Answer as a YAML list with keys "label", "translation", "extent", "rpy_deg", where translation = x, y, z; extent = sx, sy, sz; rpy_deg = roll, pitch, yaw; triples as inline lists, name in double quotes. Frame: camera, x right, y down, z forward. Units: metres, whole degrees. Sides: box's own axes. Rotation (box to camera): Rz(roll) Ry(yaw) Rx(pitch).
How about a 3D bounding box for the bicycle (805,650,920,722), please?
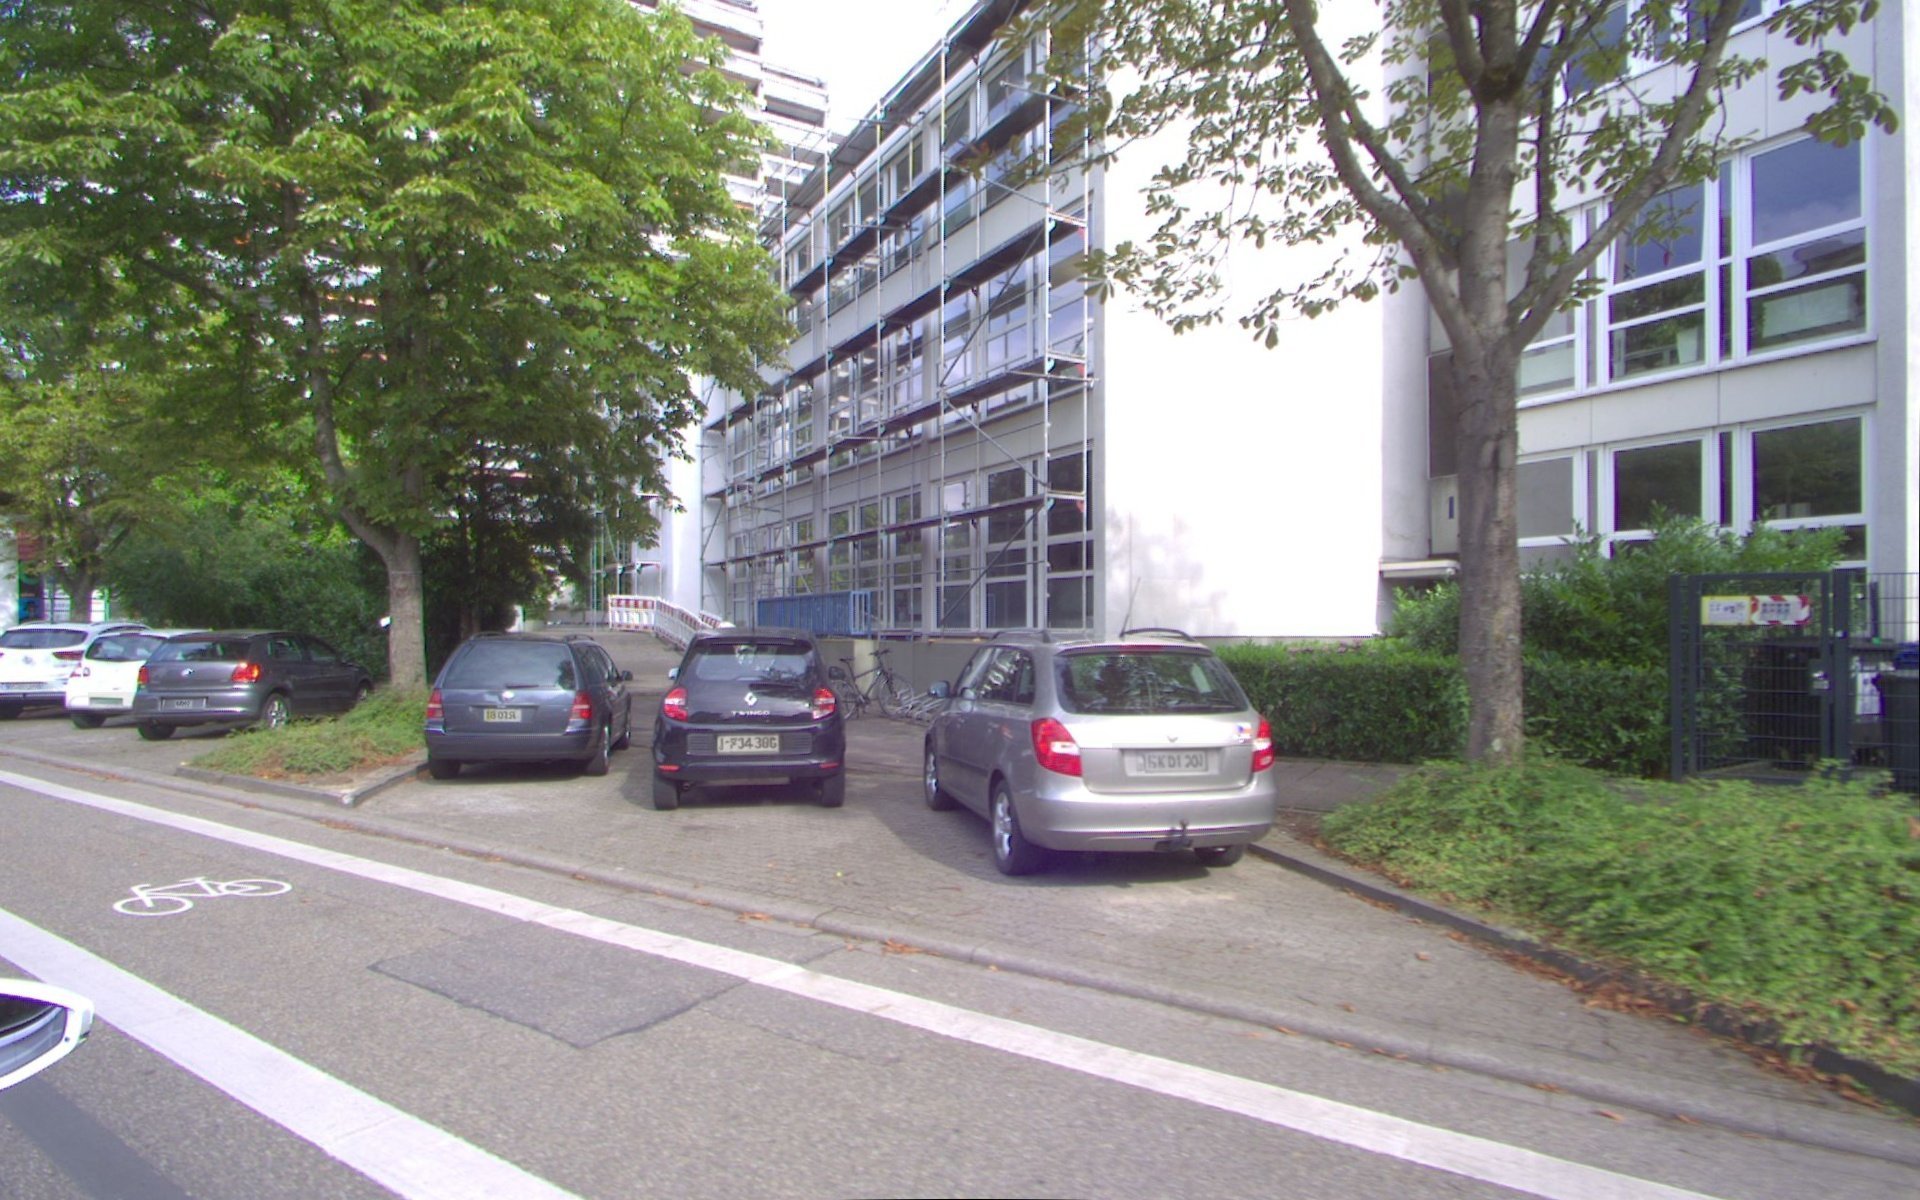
- label: "bicycle"
  translation: [-1.560, 1.359, 16.136]
  extent: [1.813, 1.057, 0.451]
  rpy_deg: [0, 0, -29]

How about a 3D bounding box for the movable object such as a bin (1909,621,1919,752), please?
- label: "movable object such as a bin"
  translation: [12.363, 1.048, 12.057]
  extent: [1.160, 1.588, 1.172]
  rpy_deg: [1, -1, -36]

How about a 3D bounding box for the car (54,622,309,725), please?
- label: "car"
  translation: [-12.620, 1.136, 16.544]
  extent: [1.650, 1.493, 3.647]
  rpy_deg: [0, -2, -6]

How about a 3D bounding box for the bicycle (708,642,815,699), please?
- label: "bicycle"
  translation: [-3.807, 1.333, 19.234]
  extent: [1.944, 1.057, 0.593]
  rpy_deg: [1, -1, -20]

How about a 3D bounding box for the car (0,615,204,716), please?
- label: "car"
  translation: [-15.472, 1.106, 17.966]
  extent: [1.651, 1.623, 3.644]
  rpy_deg: [0, -2, -12]

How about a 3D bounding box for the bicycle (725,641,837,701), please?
- label: "bicycle"
  translation: [-3.289, 1.283, 18.498]
  extent: [1.949, 1.057, 0.592]
  rpy_deg: [1, -1, -30]

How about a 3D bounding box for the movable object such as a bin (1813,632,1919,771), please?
- label: "movable object such as a bin"
  translation: [10.030, 1.049, 10.751]
  extent: [1.050, 1.409, 1.111]
  rpy_deg: [1, -1, -36]

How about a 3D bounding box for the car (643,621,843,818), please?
- label: "car"
  translation: [-2.026, 1.001, 9.735]
  extent: [1.566, 1.557, 3.416]
  rpy_deg: [0, -1, -10]

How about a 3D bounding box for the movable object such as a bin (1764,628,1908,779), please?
- label: "movable object such as a bin"
  translation: [8.866, 0.998, 10.143]
  extent: [1.012, 1.425, 0.906]
  rpy_deg: [1, -1, -36]

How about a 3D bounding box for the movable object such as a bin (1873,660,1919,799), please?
- label: "movable object such as a bin"
  translation: [8.244, 1.085, 8.453]
  extent: [0.734, 1.119, 0.781]
  rpy_deg: [-1, -1, 39]

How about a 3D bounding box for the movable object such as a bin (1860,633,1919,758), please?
- label: "movable object such as a bin"
  translation: [11.177, 1.075, 11.401]
  extent: [1.160, 1.388, 1.172]
  rpy_deg: [1, -1, -36]

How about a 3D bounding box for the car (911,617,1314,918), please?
- label: "car"
  translation: [0.759, 0.944, 7.349]
  extent: [1.566, 1.557, 4.050]
  rpy_deg: [1, -2, -13]

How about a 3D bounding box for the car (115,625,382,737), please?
- label: "car"
  translation: [-10.287, 1.106, 14.833]
  extent: [1.650, 1.438, 3.647]
  rpy_deg: [0, -2, -6]

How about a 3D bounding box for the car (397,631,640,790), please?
- label: "car"
  translation: [-4.725, 1.078, 11.341]
  extent: [1.783, 1.433, 4.167]
  rpy_deg: [0, -2, -13]
